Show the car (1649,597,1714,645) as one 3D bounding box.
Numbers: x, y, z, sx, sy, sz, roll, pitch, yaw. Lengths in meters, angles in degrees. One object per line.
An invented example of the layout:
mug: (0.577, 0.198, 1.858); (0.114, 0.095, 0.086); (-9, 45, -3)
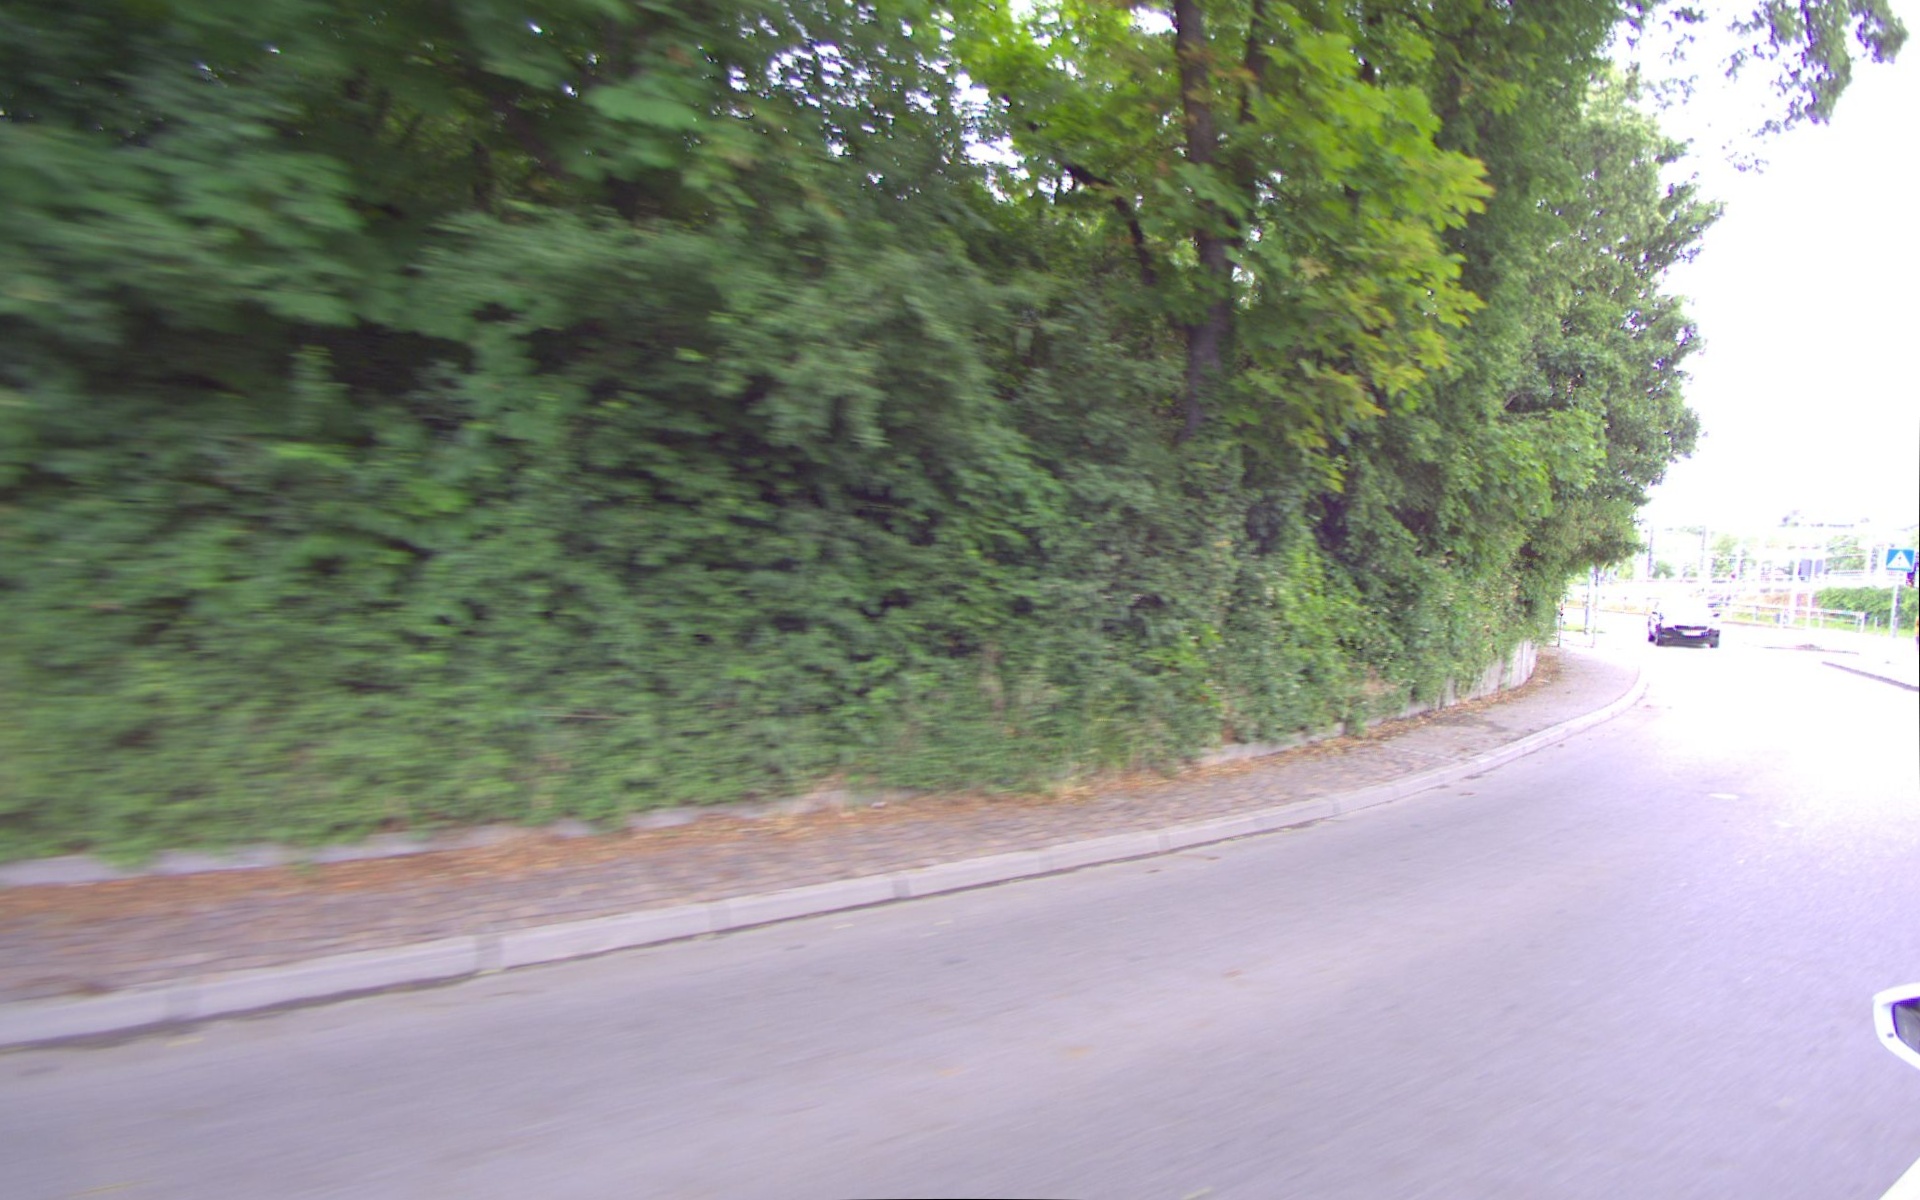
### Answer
car: (25.973, 0.710, 36.254); (1.778, 1.631, 4.163); (0, 0, 34)

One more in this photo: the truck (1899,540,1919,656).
truck: (29.522, 0.053, 28.398); (2.726, 3.531, 8.105); (4, 4, 33)
